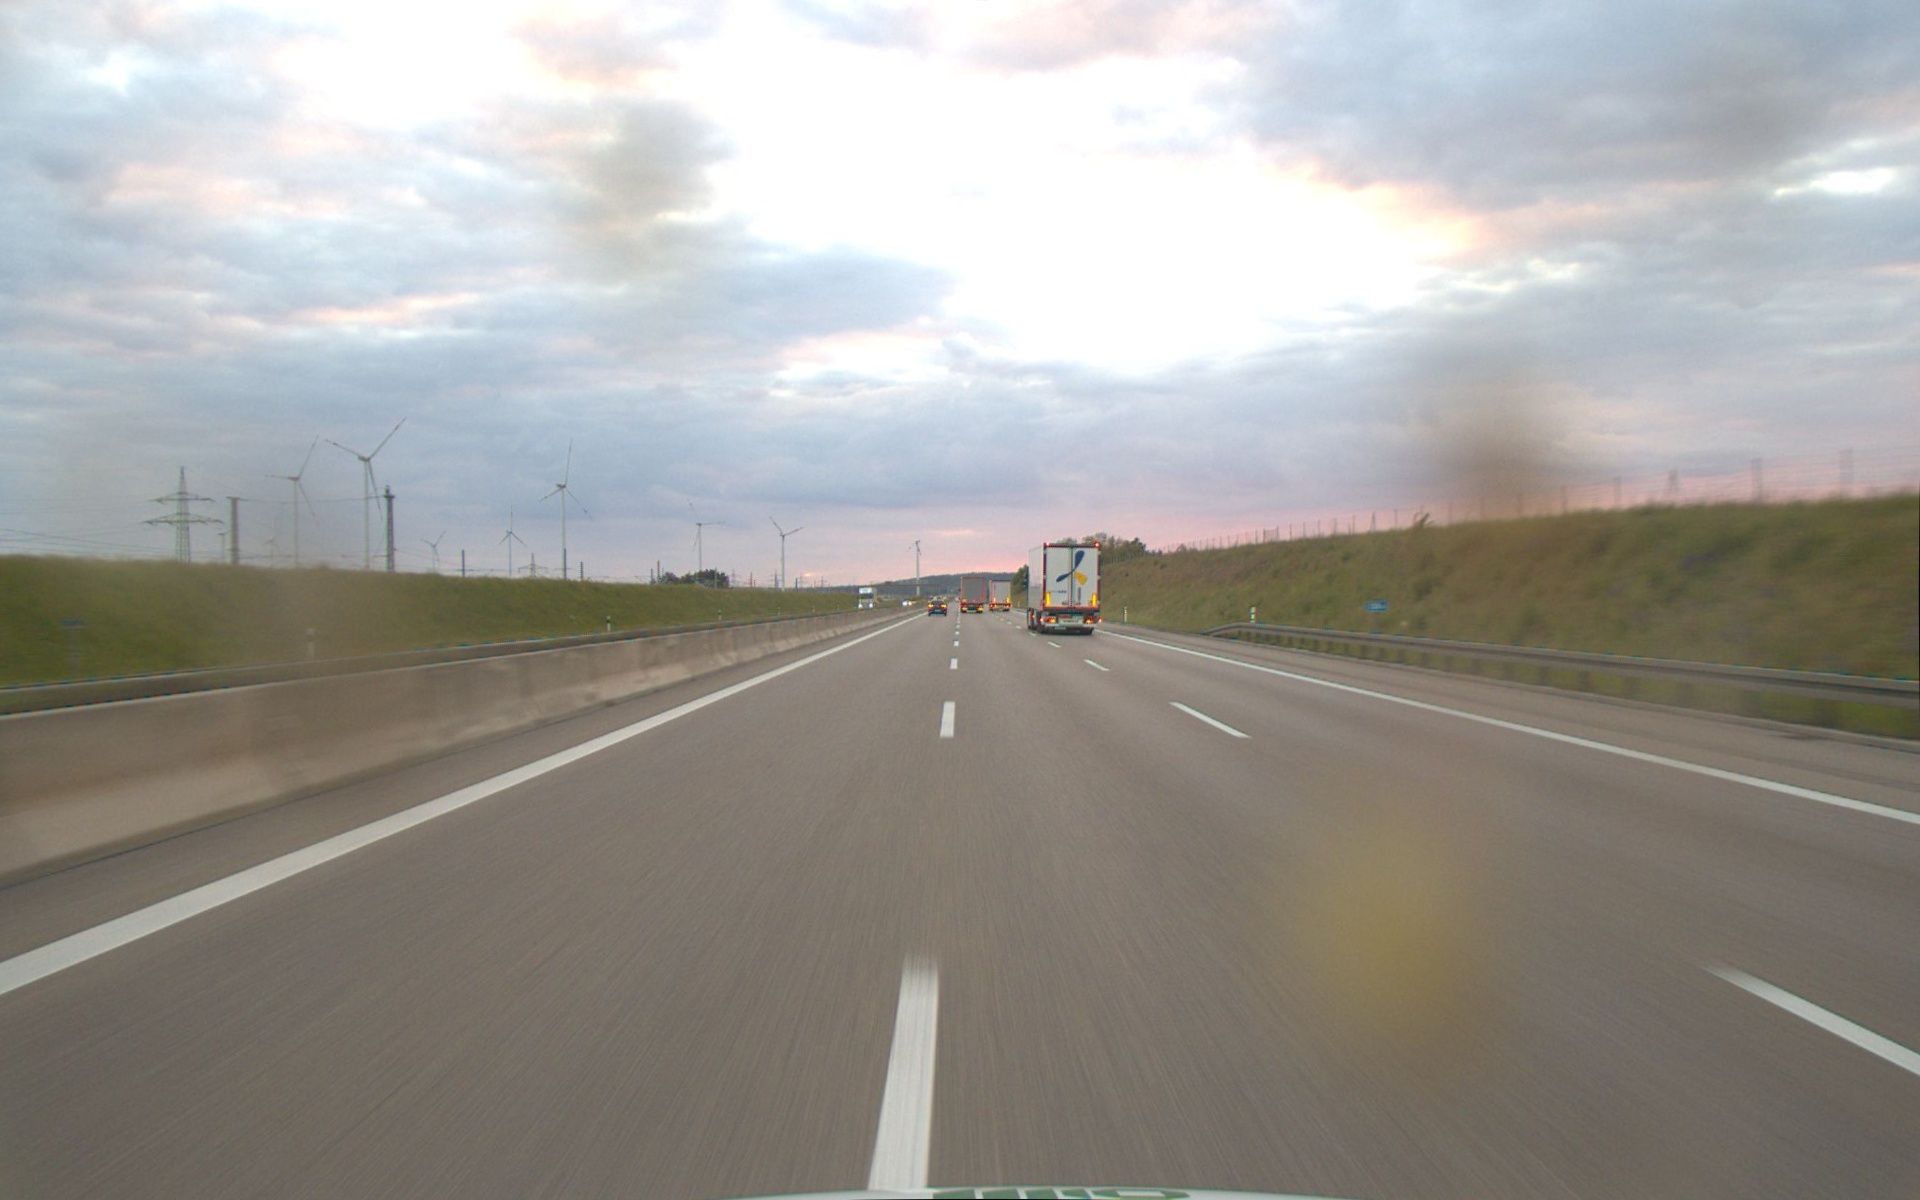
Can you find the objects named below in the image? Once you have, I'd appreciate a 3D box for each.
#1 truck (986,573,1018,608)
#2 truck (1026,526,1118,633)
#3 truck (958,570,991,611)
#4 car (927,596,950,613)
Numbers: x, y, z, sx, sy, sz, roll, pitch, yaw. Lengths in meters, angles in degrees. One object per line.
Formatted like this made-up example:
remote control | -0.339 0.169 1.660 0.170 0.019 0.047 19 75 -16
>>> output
truck | 5.576 -1.280 222.001 3.885 4.491 8.634 -1 0 -1
truck | 5.145 -0.939 78.432 3.600 4.644 10.981 -1 0 0
truck | 1.652 -1.098 188.734 3.573 4.491 8.634 0 0 0
car | -1.951 0.415 151.434 1.946 1.454 4.001 -1 1 1
